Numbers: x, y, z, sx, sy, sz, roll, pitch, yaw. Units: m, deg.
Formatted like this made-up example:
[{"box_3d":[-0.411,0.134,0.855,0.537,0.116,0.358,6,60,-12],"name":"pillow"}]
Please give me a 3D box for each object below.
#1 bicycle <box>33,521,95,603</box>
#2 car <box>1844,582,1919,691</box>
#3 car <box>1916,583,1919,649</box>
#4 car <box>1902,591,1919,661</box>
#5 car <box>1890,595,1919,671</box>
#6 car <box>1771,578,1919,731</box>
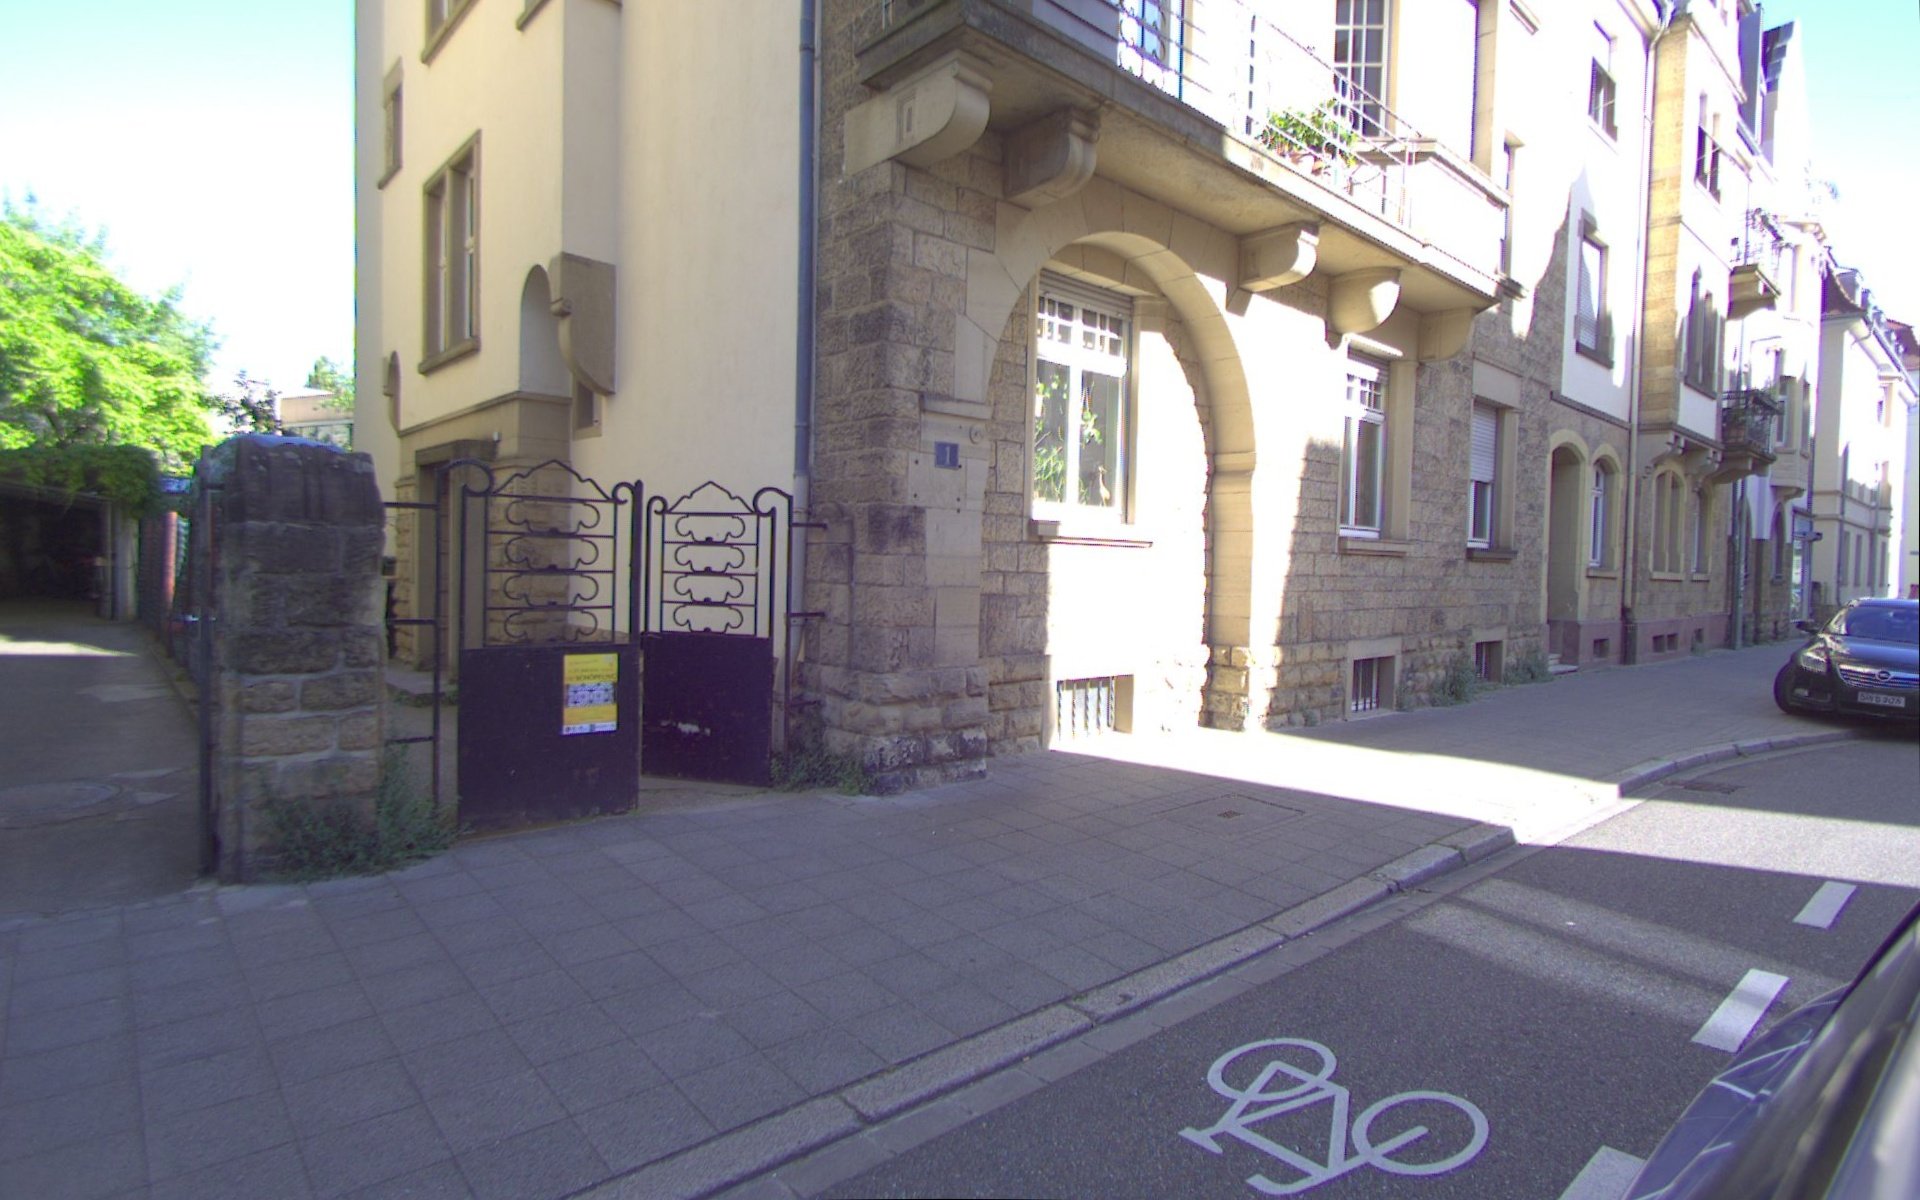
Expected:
[{"box_3d":[-18.301,-0.811,20.720,0.903,1.530,2.672,0,4,-41],"name":"bicycle"},{"box_3d":[15.532,0.563,15.859,4.247,1.527,2.004,0,3,-42],"name":"car"},{"box_3d":[26.235,0.333,26.041,4.247,1.860,2.004,-1,4,-42],"name":"car"},{"box_3d":[22.173,0.579,22.184,4.247,1.440,1.823,-1,4,-42],"name":"car"},{"box_3d":[18.795,0.616,18.963,3.667,1.295,1.659,-1,4,-42],"name":"car"},{"box_3d":[11.478,0.568,12.153,4.043,1.526,2.023,-1,5,-42],"name":"car"}]
